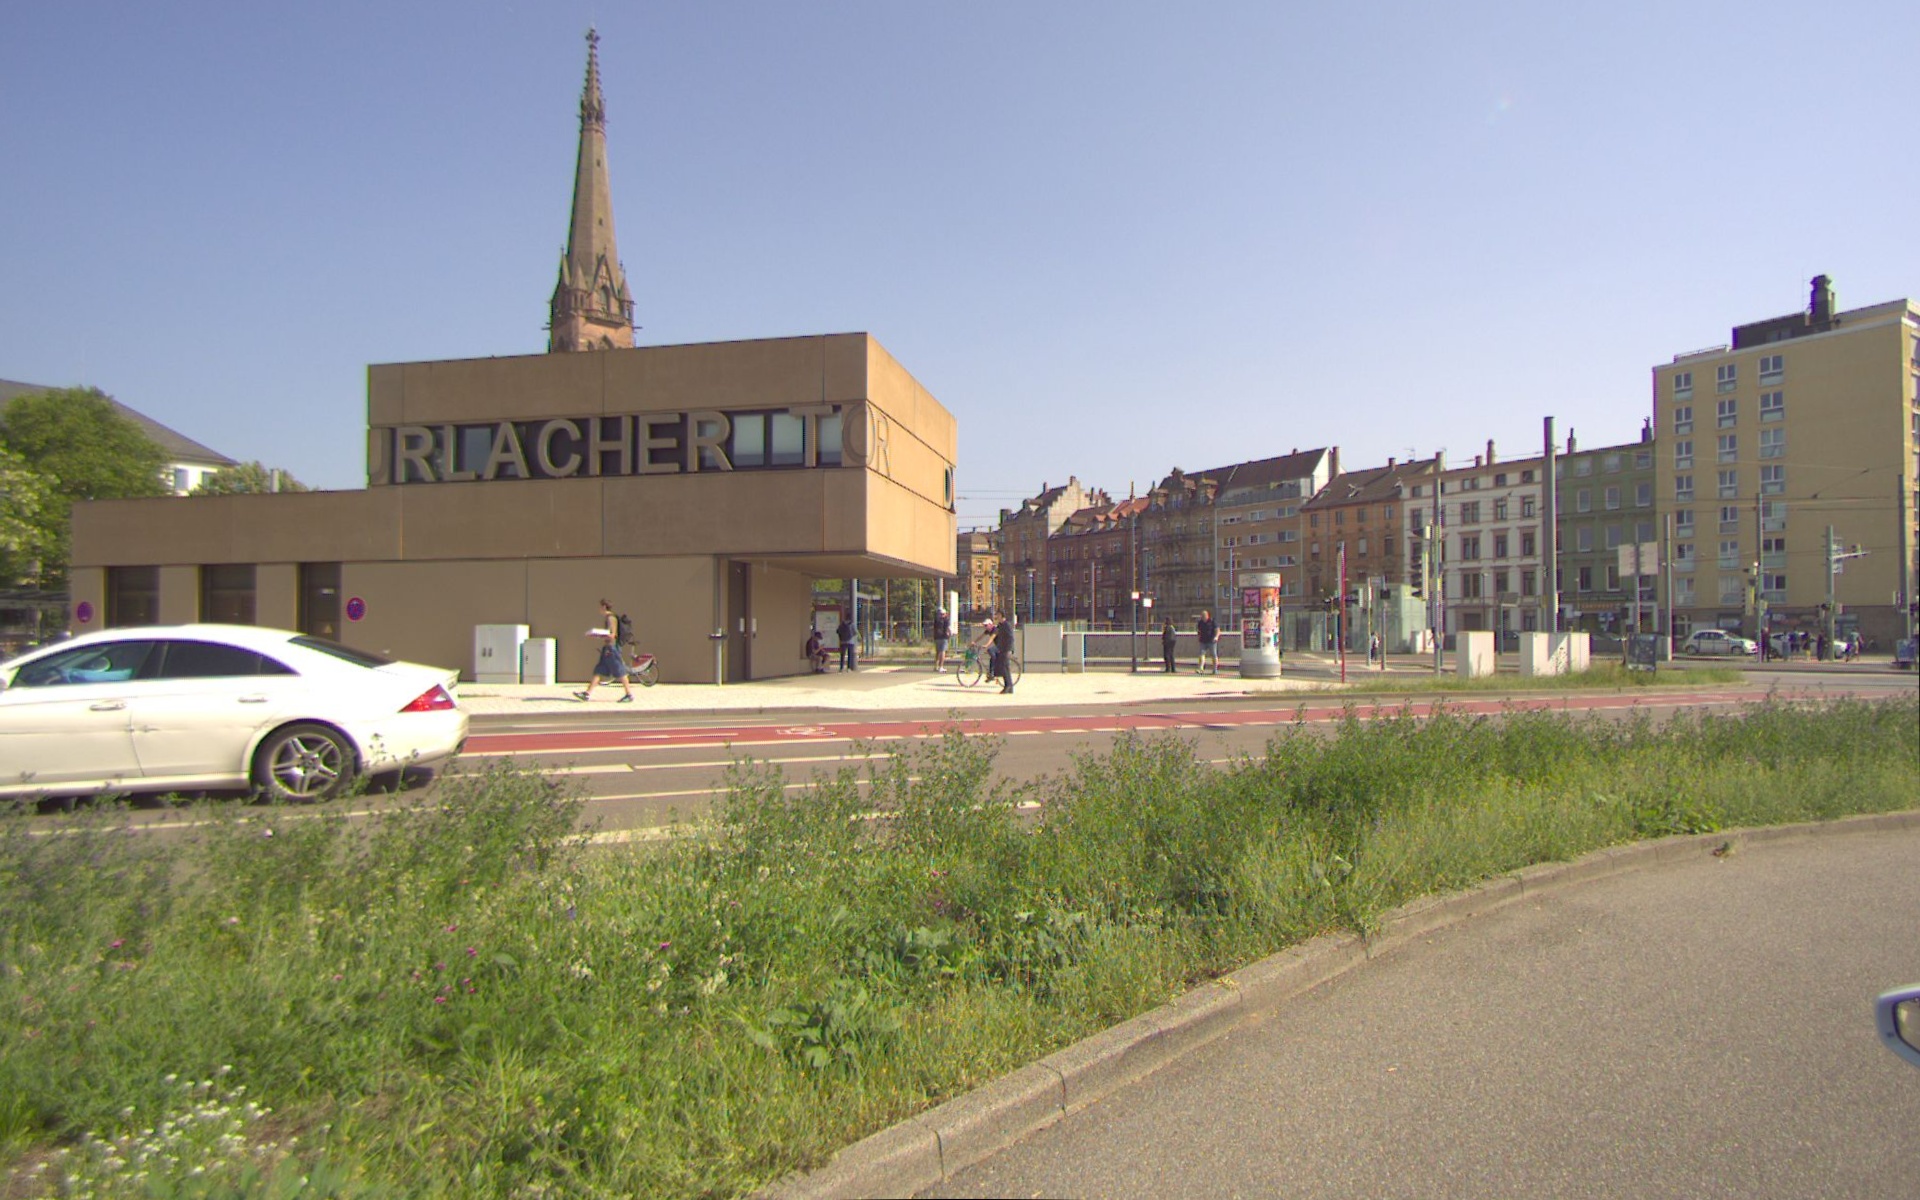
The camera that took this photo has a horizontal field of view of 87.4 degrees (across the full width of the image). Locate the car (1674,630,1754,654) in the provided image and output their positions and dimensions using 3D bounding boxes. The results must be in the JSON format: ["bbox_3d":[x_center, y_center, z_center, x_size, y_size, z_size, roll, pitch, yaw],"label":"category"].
[{"bbox_3d":[46.849,2.593,62.472,1.568,1.411,3.719,1,-2,-30],"label":"car"}]

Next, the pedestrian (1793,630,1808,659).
[{"bbox_3d":[45.425,2.392,54.291,0.489,1.507,0.440,-2,0,20],"label":"pedestrian"}]

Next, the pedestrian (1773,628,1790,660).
[{"bbox_3d":[44.088,2.362,53.889,0.539,1.707,0.454,-2,0,-19],"label":"pedestrian"}]

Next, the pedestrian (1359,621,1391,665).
[{"bbox_3d":[20.009,2.050,48.440,1.010,2.040,0.953,-2,0,-31],"label":"pedestrian"}]

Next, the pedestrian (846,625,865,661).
[{"bbox_3d":[-4.754,1.947,45.743,0.782,1.612,0.692,0,-1,-1],"label":"pedestrian"}]

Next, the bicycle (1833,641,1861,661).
[{"bbox_3d":[46.122,2.647,52.205,1.715,0.997,0.722,1,-2,-36],"label":"bicycle"}]

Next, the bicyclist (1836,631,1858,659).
[{"bbox_3d":[46.114,2.323,52.206,0.683,1.453,0.721,1,-2,-35],"label":"bicyclist"}]

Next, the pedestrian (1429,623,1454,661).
[{"bbox_3d":[23.605,2.049,49.276,0.848,1.810,0.771,-2,2,-34],"label":"pedestrian"}]

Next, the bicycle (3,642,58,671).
[{"bbox_3d":[-32.526,1.976,35.158,1.837,1.022,0.462,-1,-2,14],"label":"bicycle"}]

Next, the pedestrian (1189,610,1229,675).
[{"bbox_3d":[7.239,1.228,29.173,0.865,1.843,0.894,-2,0,28],"label":"pedestrian"}]

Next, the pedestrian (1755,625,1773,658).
[{"bbox_3d":[43.432,2.241,54.257,0.537,1.707,0.455,-2,0,-7],"label":"pedestrian"}]

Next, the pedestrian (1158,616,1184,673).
[{"bbox_3d":[6.086,1.272,28.950,0.499,1.601,0.497,-2,0,-16],"label":"pedestrian"}]

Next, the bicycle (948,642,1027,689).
[{"bbox_3d":[0.676,1.590,24.395,1.828,1.078,0.560,3,-1,-27],"label":"bicycle"}]

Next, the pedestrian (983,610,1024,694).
[{"bbox_3d":[0.968,1.145,22.462,0.831,1.802,0.877,-2,0,1],"label":"pedestrian"}]

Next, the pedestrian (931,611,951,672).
[{"bbox_3d":[-0.602,1.287,31.268,0.547,1.843,0.392,-2,0,-6],"label":"pedestrian"}]

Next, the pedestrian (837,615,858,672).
[{"bbox_3d":[-3.461,1.332,30.849,0.523,1.718,0.607,-2,0,-2],"label":"pedestrian"}]

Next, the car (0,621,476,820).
[{"bbox_3d":[-6.657,0.901,8.270,4.754,1.379,1.836,2,-1,-26],"label":"car"}]

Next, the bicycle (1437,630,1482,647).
[{"bbox_3d":[42.577,3.277,85.611,0.765,1.366,3.510,-2,0,-32],"label":"bicycle"}]

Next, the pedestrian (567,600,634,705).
[{"bbox_3d":[-6.296,0.895,17.611,0.668,1.783,0.875,0,-1,38],"label":"pedestrian"}]

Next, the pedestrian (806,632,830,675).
[{"bbox_3d":[-3.984,1.507,28.209,0.513,1.187,0.596,0,-2,11],"label":"pedestrian"}]

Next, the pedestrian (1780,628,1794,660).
[{"bbox_3d":[44.881,2.377,54.502,0.447,1.707,0.440,-2,0,20],"label":"pedestrian"}]

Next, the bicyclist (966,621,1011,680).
[{"bbox_3d":[0.698,1.226,24.407,0.872,1.380,0.560,3,-1,-28],"label":"bicyclist"}]

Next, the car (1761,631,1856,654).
[{"bbox_3d":[47.294,2.348,56.060,1.561,1.195,3.803,3,-3,-36],"label":"car"}]

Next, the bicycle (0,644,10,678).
[{"bbox_3d":[-29.740,1.839,30.527,1.710,1.022,0.401,-1,-2,14],"label":"bicycle"}]

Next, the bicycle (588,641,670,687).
[{"bbox_3d":[-7.227,1.391,21.938,1.580,0.968,0.661,-1,0,12],"label":"bicycle"}]
